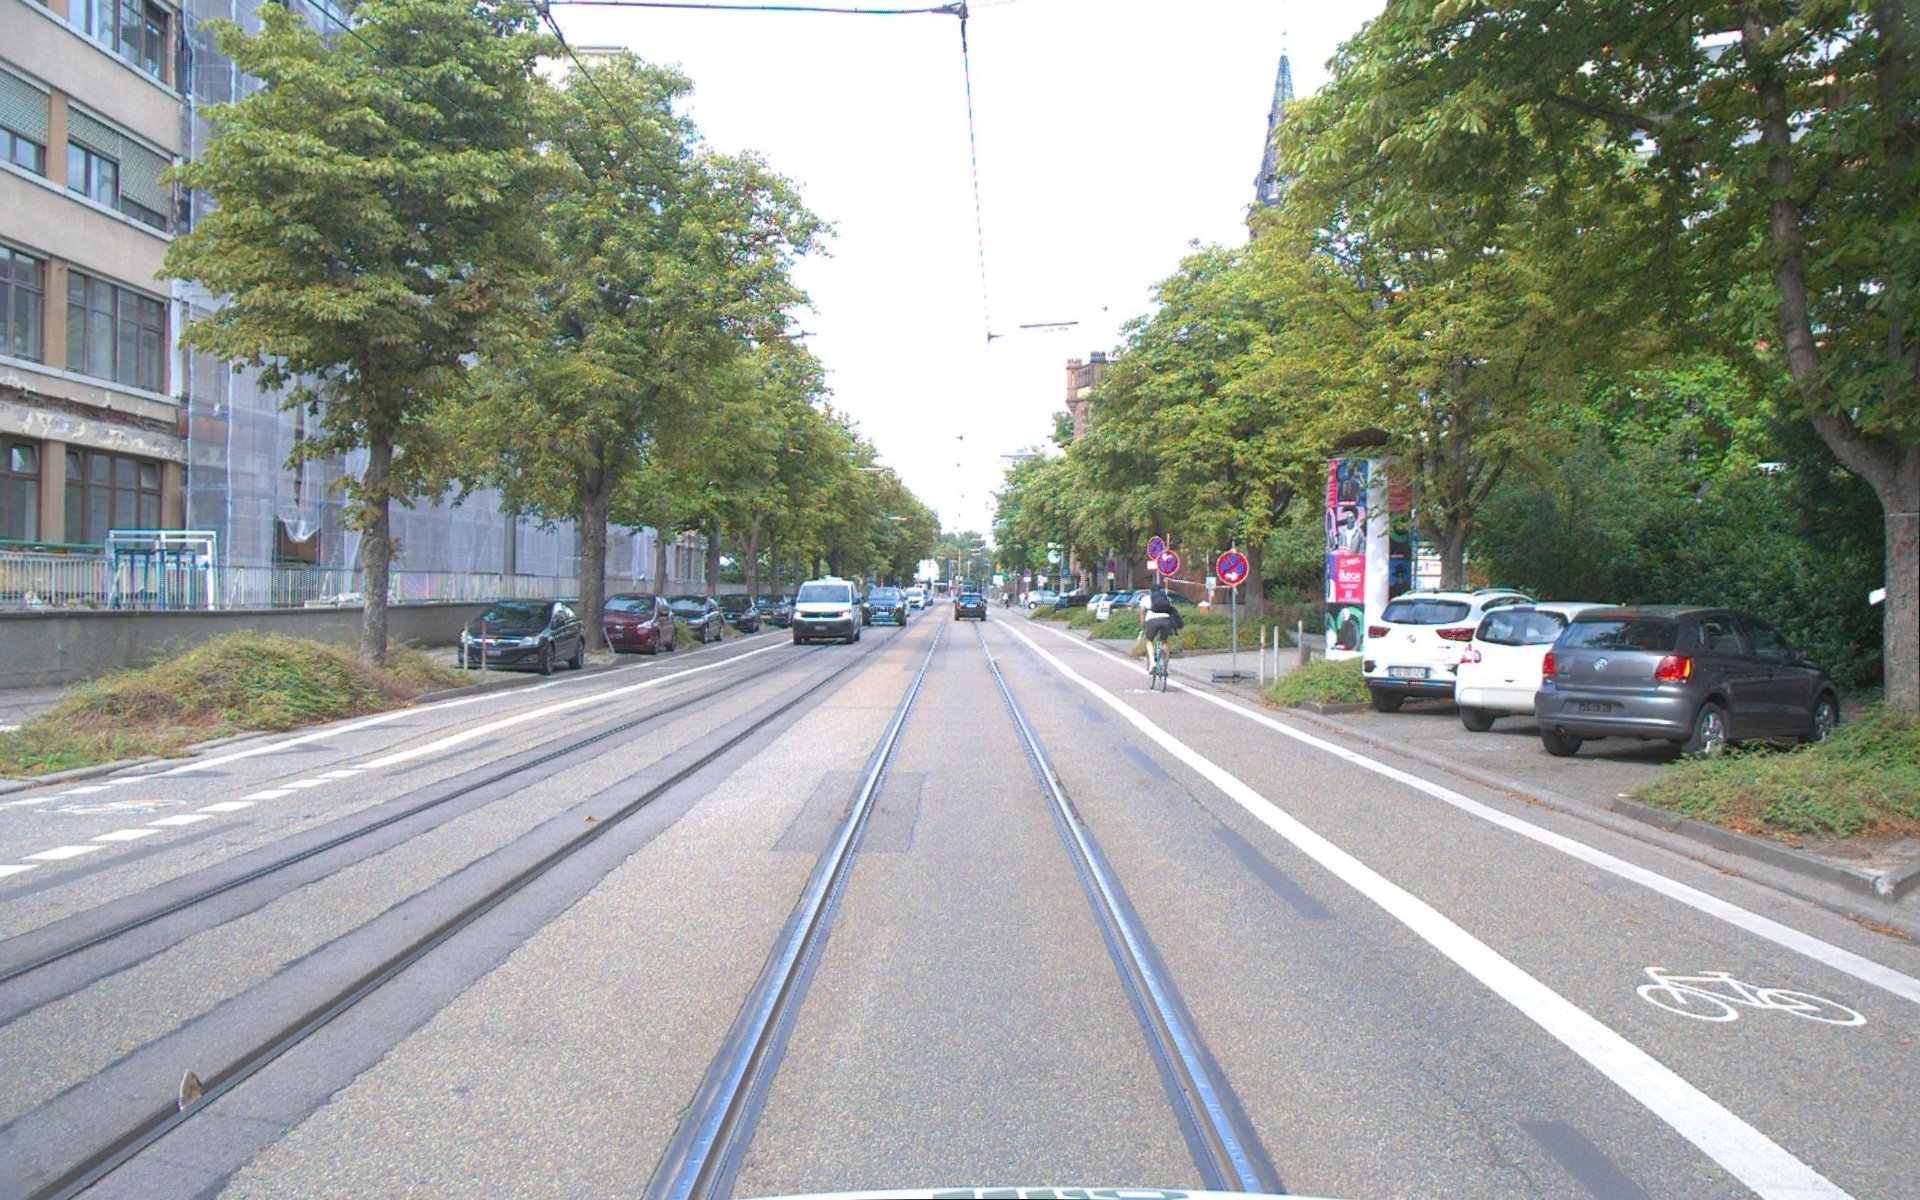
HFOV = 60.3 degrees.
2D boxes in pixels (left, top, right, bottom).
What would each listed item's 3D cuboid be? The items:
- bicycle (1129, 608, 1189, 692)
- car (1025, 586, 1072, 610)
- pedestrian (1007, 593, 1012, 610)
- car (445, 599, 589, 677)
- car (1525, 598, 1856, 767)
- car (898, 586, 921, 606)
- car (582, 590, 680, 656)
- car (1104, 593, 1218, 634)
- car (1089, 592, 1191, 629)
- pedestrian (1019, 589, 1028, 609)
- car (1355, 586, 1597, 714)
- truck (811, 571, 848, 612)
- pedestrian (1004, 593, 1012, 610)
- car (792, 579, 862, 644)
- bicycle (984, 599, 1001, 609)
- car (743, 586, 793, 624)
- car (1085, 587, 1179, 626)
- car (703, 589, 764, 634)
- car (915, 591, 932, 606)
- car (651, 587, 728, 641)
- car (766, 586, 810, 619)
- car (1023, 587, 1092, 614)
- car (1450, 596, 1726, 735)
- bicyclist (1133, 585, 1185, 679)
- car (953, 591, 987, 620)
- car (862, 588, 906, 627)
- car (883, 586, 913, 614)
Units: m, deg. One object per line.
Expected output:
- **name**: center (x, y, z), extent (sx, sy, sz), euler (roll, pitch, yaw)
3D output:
- **bicycle**: center (3.264, 0.799, 27.283), extent (0.644, 1.270, 2.124), euler (2, 0, -1)
- **car**: center (7.747, -0.205, 145.266), extent (3.907, 1.944, 1.999), euler (2, 0, -3)
- **pedestrian**: center (6.098, 0.231, 203.412), extent (0.507, 2.049, 0.480), euler (1, 0, 3)
- **car**: center (-8.584, 0.694, 32.351), extent (1.766, 1.398, 4.030), euler (0, 0, -1)
- **car**: center (7.282, 0.744, 16.380), extent (3.501, 1.468, 1.601), euler (1, 0, -39)
- **car**: center (-4.123, -0.328, 135.324), extent (1.766, 1.650, 4.484), euler (0, 0, -1)
- **car**: center (-8.432, 0.567, 42.745), extent (1.766, 1.611, 4.030), euler (0, 0, -1)
- **car**: center (7.395, 0.482, 61.143), extent (3.907, 1.449, 1.884), euler (1, 0, -3)
- **car**: center (7.390, 0.414, 68.045), extent (3.907, 1.449, 1.884), euler (1, 0, -3)
- **pedestrian**: center (5.403, -0.097, 140.032), extent (0.711, 1.674, 0.767), euler (2, 0, 1)
- **car**: center (7.069, 0.643, 22.529), extent (3.414, 1.600, 1.538), euler (1, 0, -39)
- **truck**: center (-8.354, -0.550, 106.004), extent (2.029, 2.513, 4.898), euler (0, 0, -1)
- **pedestrian**: center (4.841, 0.112, 167.114), extent (0.711, 1.674, 0.767), euler (2, 0, 10)
- **car**: center (-3.905, 0.316, 49.167), extent (1.766, 1.855, 4.484), euler (0, 0, -1)
- **bicycle**: center (3.272, 0.394, 167.229), extent (1.684, 1.009, 0.659), euler (2, 0, 8)
- **car**: center (-8.392, 0.189, 72.585), extent (1.766, 1.611, 4.030), euler (0, 0, -1)
- **car**: center (7.611, 0.264, 73.450), extent (3.907, 1.656, 1.884), euler (1, 0, -3)
- **car**: center (-8.499, 0.406, 62.349), extent (1.766, 1.611, 4.030), euler (0, 0, -1)
- **car**: center (-3.840, -0.167, 174.898), extent (1.766, 1.650, 4.484), euler (0, 0, -1)
- **car**: center (-8.396, 0.406, 51.616), extent (1.766, 1.611, 4.030), euler (0, 0, -1)
- **car**: center (-8.438, 0.109, 81.402), extent (1.766, 1.611, 4.030), euler (0, 0, -1)
- **car**: center (5.828, 0.023, 99.070), extent (3.907, 1.534, 1.884), euler (1, 0, -3)
- **car**: center (7.419, 0.716, 19.432), extent (3.414, 1.468, 1.538), euler (1, 0, -39)
- **bicyclist**: center (3.270, 0.514, 27.282), extent (0.644, 1.489, 1.178), euler (1, 0, -1)
- **car**: center (0.531, 0.290, 89.644), extent (1.757, 1.448, 3.999), euler (1, 0, -1)
- **car**: center (-3.323, 0.291, 72.582), extent (1.766, 1.650, 4.484), euler (0, 0, -1)
- **car**: center (-3.790, 0.010, 101.577), extent (1.766, 1.650, 4.484), euler (0, 0, -1)
